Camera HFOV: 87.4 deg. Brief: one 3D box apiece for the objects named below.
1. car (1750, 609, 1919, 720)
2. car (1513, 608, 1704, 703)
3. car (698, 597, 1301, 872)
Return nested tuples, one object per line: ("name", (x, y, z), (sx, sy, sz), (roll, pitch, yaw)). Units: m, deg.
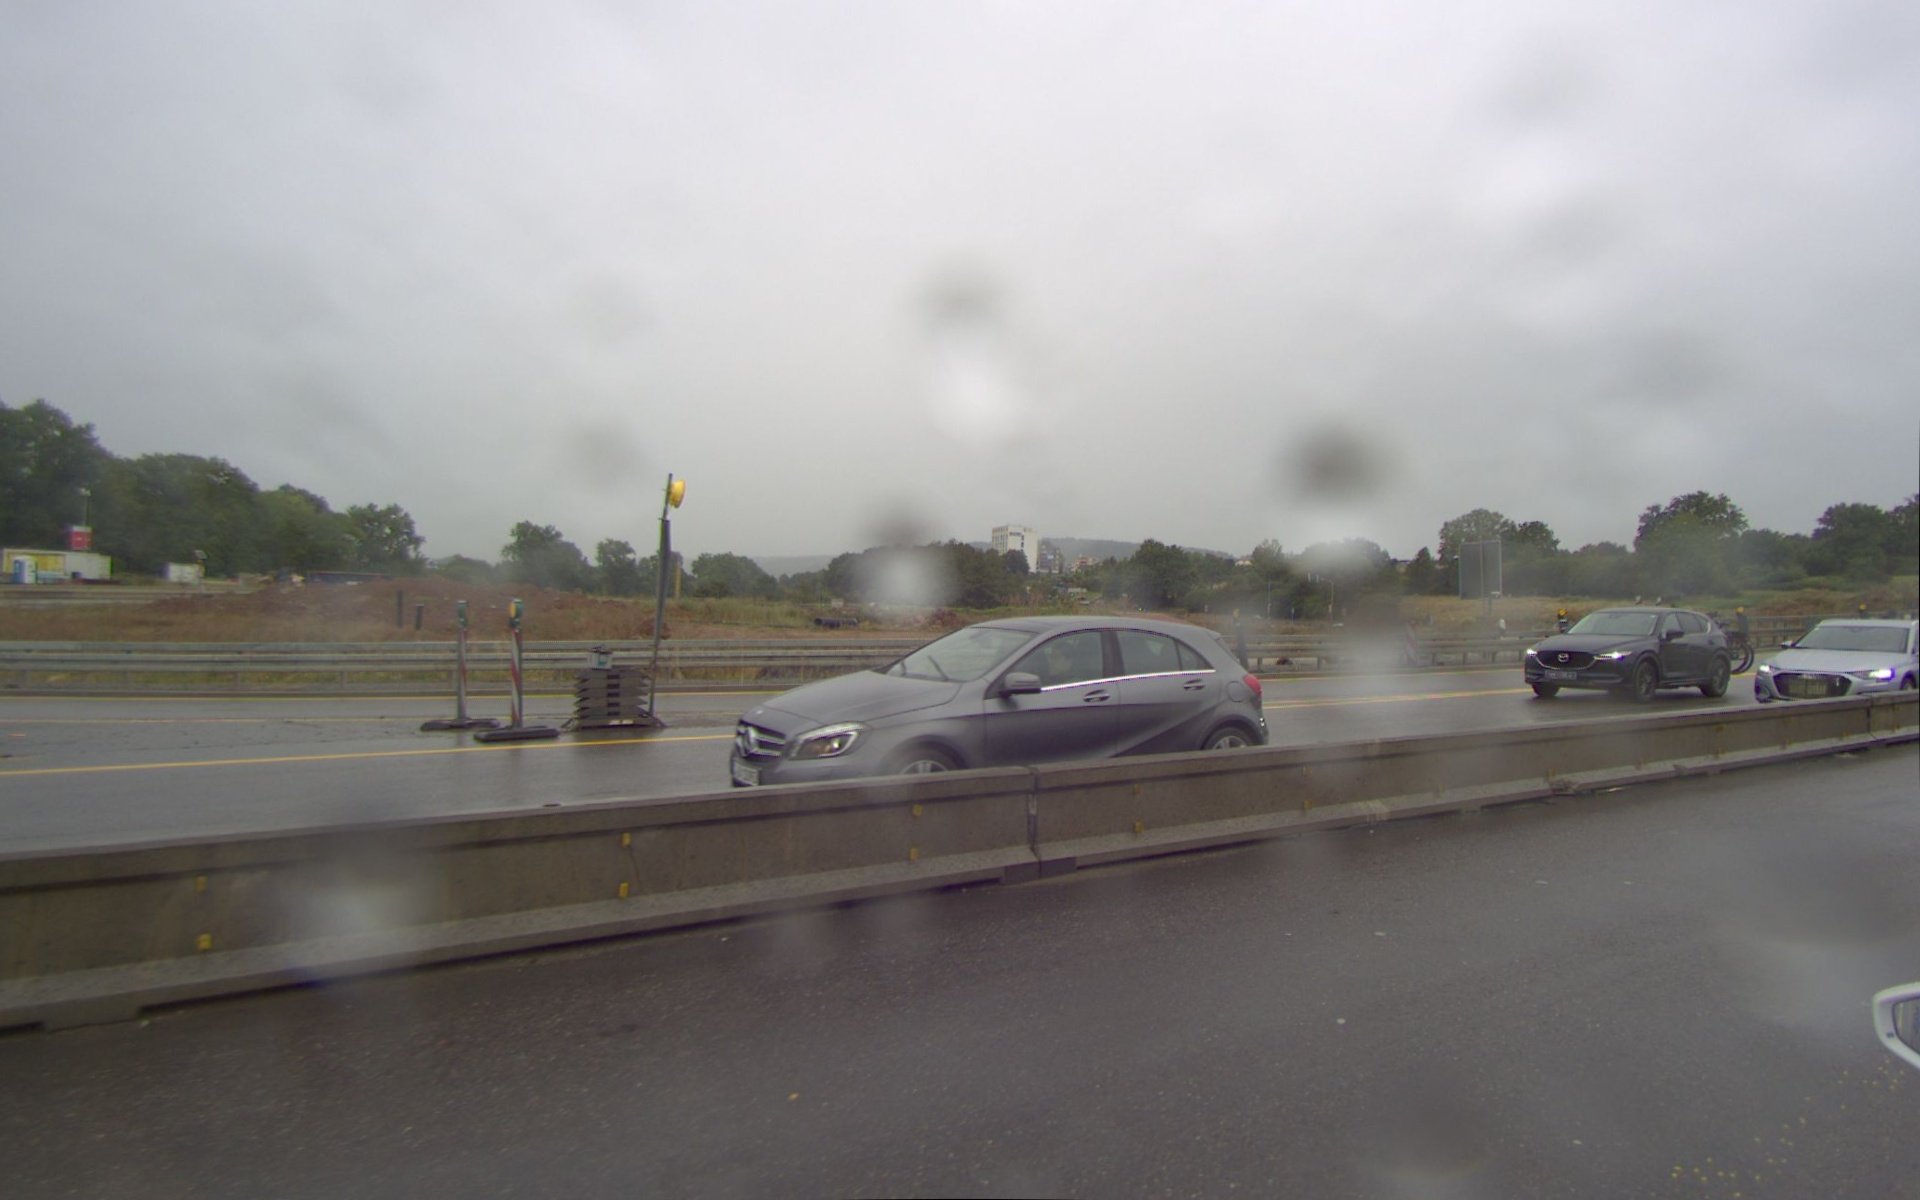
("car", (14.455, 0.951, 15.913), (4.295, 1.544, 1.668), (1, -1, -31))
("car", (11.871, 0.948, 18.324), (3.840, 1.544, 1.713), (1, -1, -37))
("car", (0.401, 0.824, 7.560), (4.262, 1.559, 1.778), (2, -1, -31))
